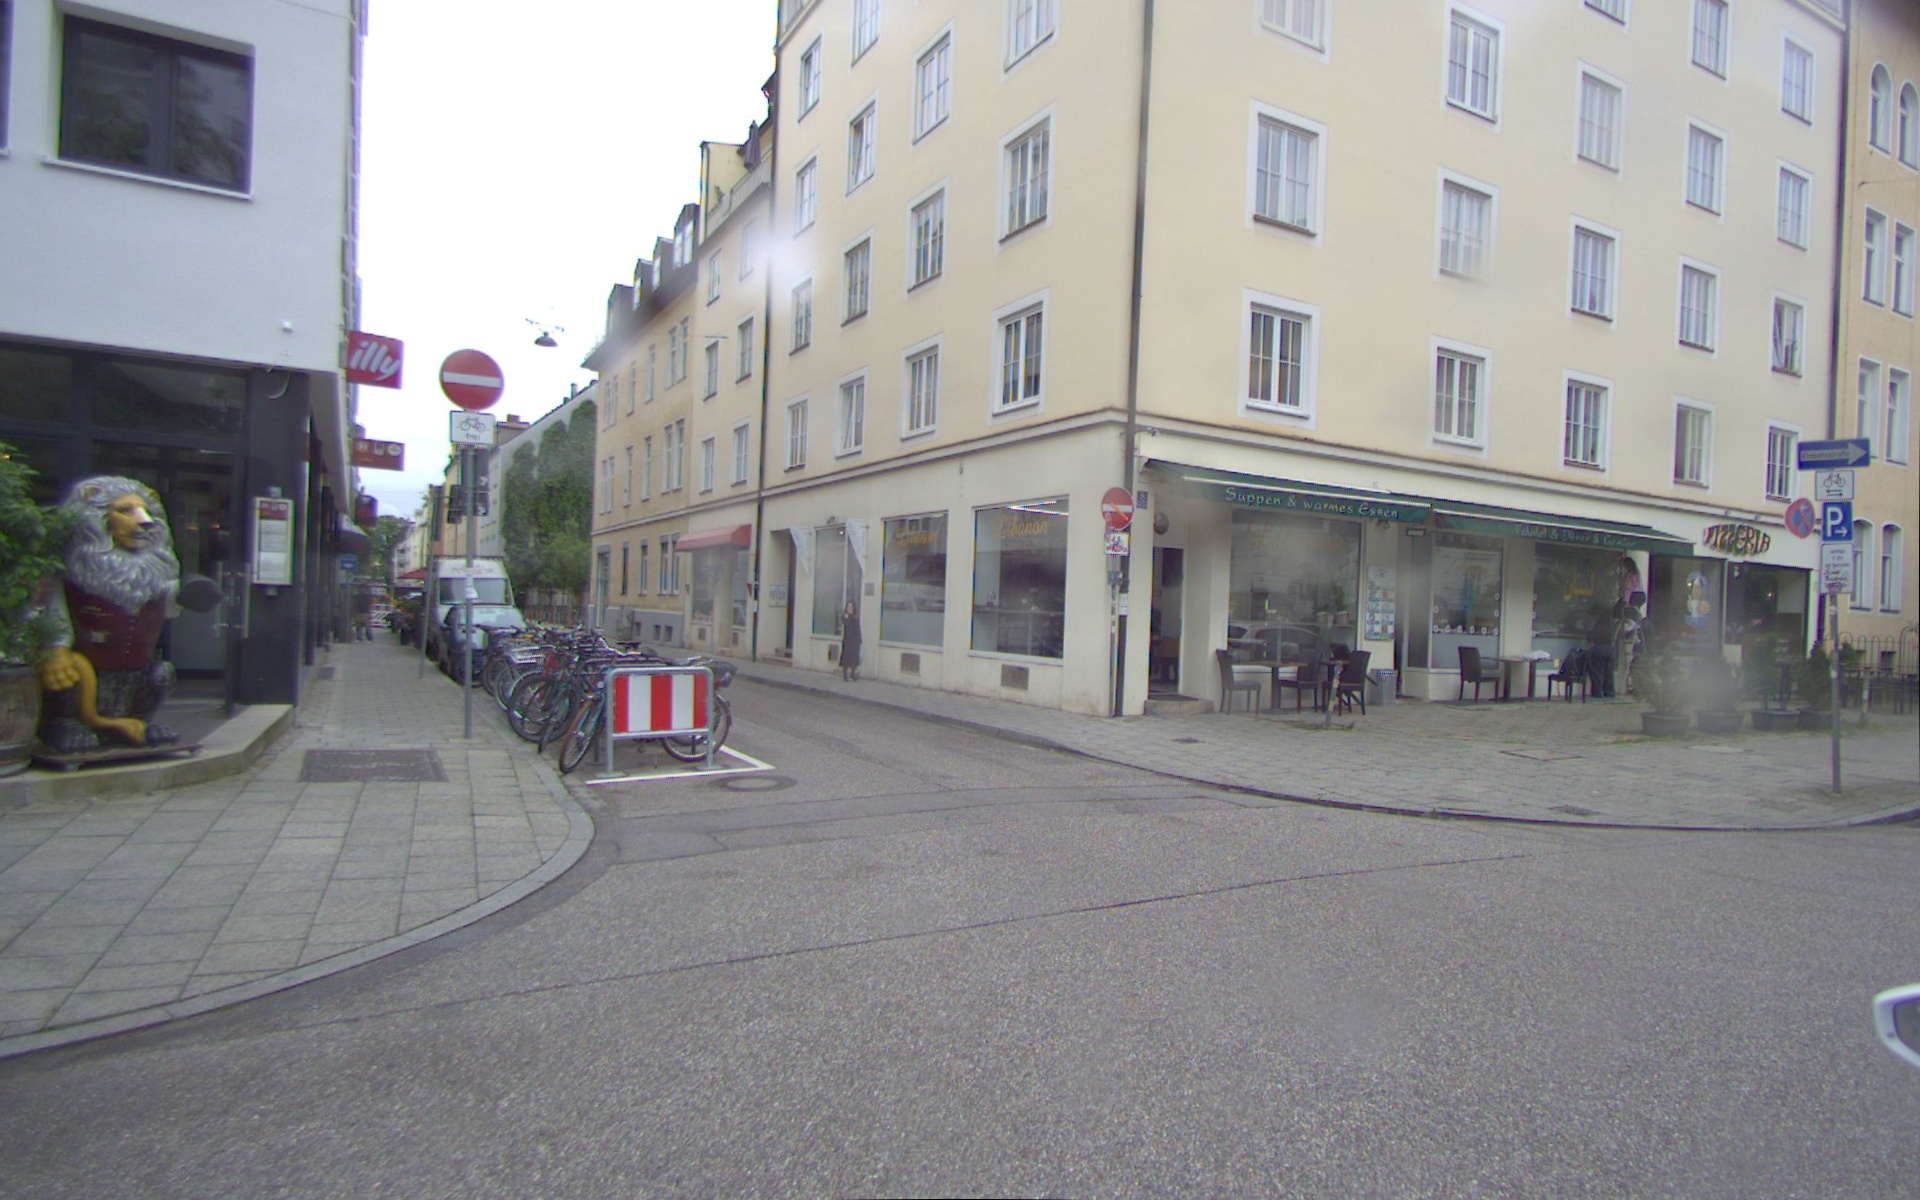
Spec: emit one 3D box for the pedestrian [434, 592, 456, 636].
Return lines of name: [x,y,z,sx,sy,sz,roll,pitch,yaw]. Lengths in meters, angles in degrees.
pedestrian: [-24.318,0.652,47.433,0.712,2.040,0.878,2,0,-36]

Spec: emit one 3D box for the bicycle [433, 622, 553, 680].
bicycle: [-8.318,0.914,17.942,1.875,0.981,0.395,3,0,-34]

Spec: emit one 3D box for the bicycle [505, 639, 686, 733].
bicycle: [-4.128,0.969,11.467,1.875,0.981,0.395,3,0,-34]

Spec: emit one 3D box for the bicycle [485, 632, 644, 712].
bicycle: [-5.158,0.943,13.169,1.875,0.981,0.395,3,0,-34]

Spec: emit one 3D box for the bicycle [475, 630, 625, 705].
bicycle: [-5.718,0.939,14.079,1.875,0.981,0.395,3,0,-34]

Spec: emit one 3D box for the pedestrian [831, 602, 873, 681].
pedestrian: [-2.212,0.841,20.514,0.631,1.582,0.605,2,0,-24]

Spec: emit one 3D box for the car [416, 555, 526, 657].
car: [-13.346,0.114,27.170,1.943,2.420,6.427,3,0,-32]

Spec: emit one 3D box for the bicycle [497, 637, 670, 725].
bicycle: [-4.497,0.963,12.086,1.875,0.981,0.395,3,0,-34]

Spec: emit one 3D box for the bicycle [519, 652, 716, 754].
bicycle: [-3.541,1.053,10.493,1.875,0.981,0.395,3,0,-34]

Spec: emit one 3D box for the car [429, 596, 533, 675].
car: [-9.745,0.674,20.295,1.474,1.426,3.660,3,-1,-32]

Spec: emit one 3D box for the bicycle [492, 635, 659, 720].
bicycle: [-4.765,0.957,12.513,1.875,0.981,0.395,3,0,-34]

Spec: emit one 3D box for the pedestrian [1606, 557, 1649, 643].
pedestrian: [13.205,0.008,19.876,0.490,1.664,0.476,2,0,-23]

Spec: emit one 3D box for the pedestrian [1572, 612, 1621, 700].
pedestrian: [12.446,1.092,19.640,0.622,1.664,0.520,2,0,-28]

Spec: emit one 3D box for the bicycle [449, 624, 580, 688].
bicycle: [-7.211,0.913,16.307,1.875,0.981,0.395,3,0,-34]

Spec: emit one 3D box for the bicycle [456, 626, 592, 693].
bicycle: [-6.744,0.925,15.599,1.875,0.981,0.395,3,0,-34]

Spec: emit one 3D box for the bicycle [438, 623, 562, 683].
bicycle: [-7.942,0.923,17.394,1.875,0.981,0.395,3,0,-34]

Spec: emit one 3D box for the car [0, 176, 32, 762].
car: [-5.018,-0.063,0.878,5.719,2.607,1.970,3,-2,-27]

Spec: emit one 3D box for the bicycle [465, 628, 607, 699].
bicycle: [-6.257,0.938,14.883,1.875,0.981,0.395,3,0,-34]

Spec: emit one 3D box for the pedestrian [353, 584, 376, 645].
pedestrian: [-17.409,0.413,29.342,0.516,1.762,0.489,2,0,-32]

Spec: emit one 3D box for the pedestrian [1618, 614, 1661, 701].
pedestrian: [13.695,1.158,20.248,0.567,1.712,0.460,2,0,-27]

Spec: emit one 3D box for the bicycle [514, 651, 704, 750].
bicycle: [-3.767,1.071,10.872,1.875,0.981,0.395,3,0,-34]
